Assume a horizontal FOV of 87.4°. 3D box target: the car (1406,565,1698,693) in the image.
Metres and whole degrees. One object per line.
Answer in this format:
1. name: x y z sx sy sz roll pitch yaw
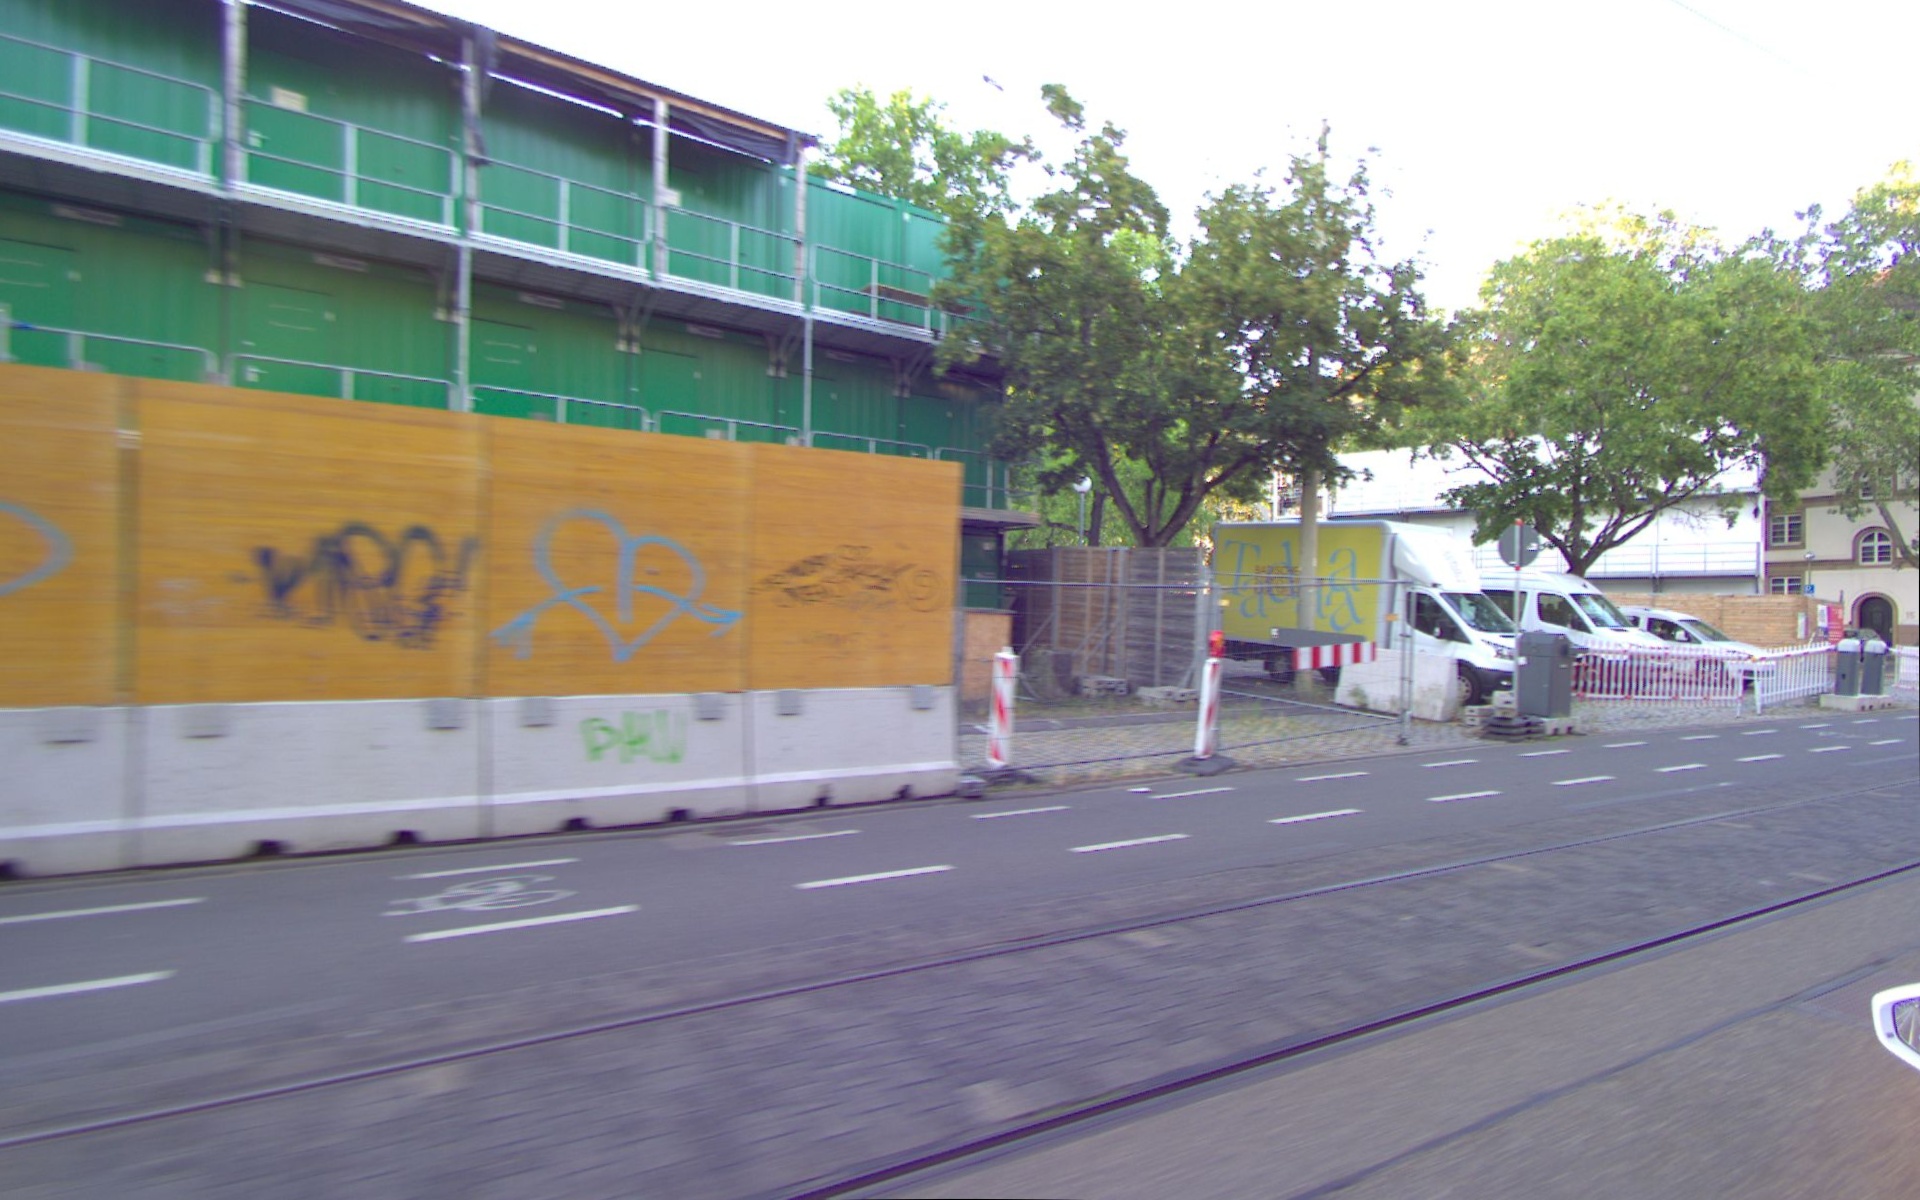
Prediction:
1. car: 13.460 0.519 23.251 2.202 2.593 5.368 0 2 -32

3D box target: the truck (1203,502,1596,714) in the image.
1. truck: 8.462 0.037 20.353 2.514 3.528 7.015 0 2 -33

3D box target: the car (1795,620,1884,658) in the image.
1. car: 40.375 1.786 46.101 4.070 1.661 1.903 2 -1 -30

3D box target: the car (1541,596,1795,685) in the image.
1. car: 18.341 0.945 26.350 2.197 1.971 5.010 1 1 -25
